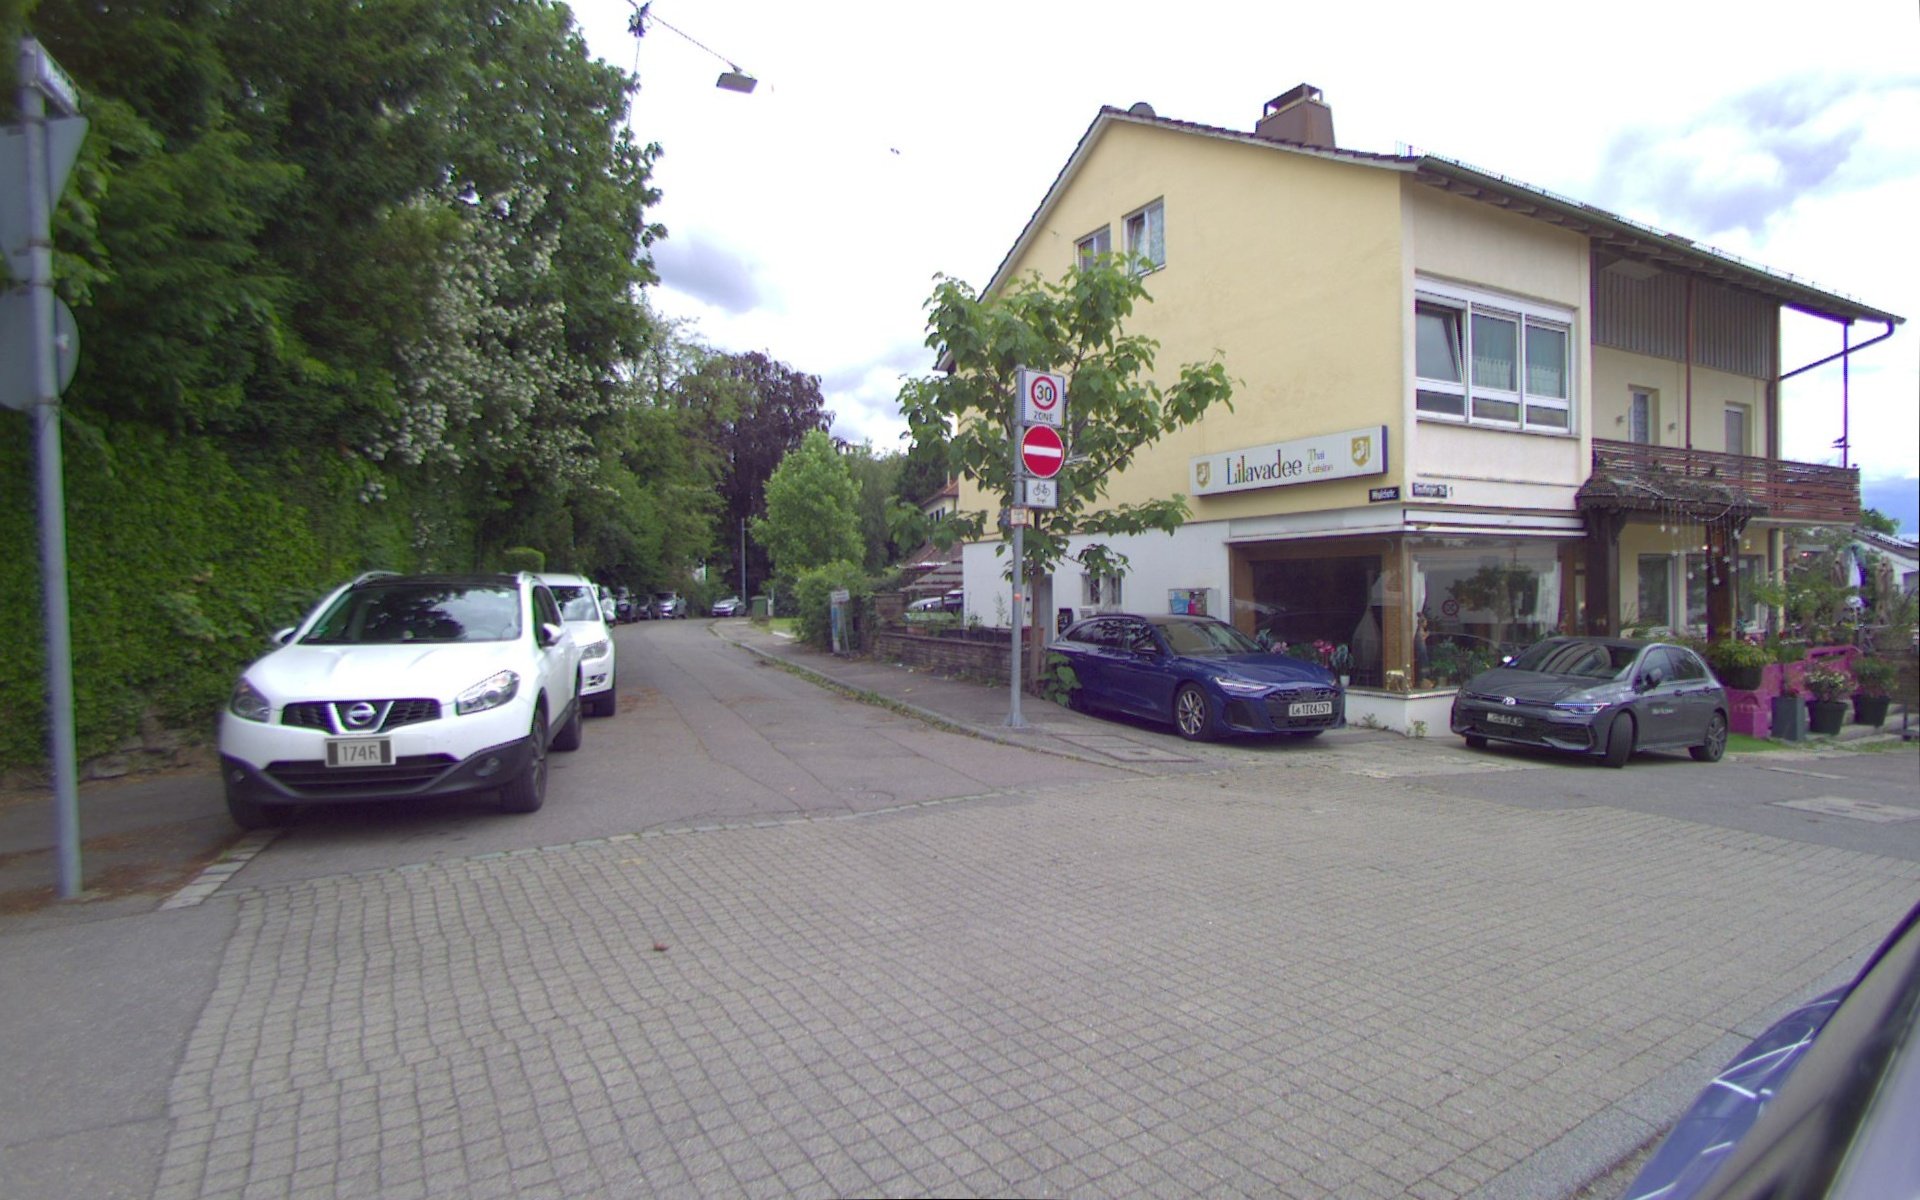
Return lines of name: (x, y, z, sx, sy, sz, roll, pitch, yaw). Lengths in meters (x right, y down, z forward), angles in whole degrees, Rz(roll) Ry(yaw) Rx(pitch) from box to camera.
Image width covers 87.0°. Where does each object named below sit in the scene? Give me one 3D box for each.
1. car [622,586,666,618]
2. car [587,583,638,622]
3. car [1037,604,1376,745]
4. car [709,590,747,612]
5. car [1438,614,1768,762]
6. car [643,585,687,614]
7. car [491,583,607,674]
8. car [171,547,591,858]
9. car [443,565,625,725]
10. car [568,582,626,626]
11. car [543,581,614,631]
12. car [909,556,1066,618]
car: (-15.921, 0.081, 51.125, 1.542, 1.502, 3.479, -1, 1, -8)
car: (-14.210, 0.050, 41.538, 1.542, 1.502, 3.481, -1, 1, -11)
car: (2.914, 0.831, 13.225, 1.761, 1.405, 4.758, 2, 0, -23)
car: (-16.353, 0.036, 71.469, 1.547, 1.502, 3.468, 0, 1, 7)
car: (7.943, 1.068, 12.386, 4.242, 1.480, 1.800, 5, -2, -34)
car: (-16.245, -0.035, 55.807, 1.543, 1.502, 3.476, 0, 1, -3)
car: (-7.449, 0.422, 18.576, 1.761, 1.441, 4.080, -1, 1, -20)
car: (-3.867, 0.511, 7.568, 1.761, 1.643, 4.144, -1, 1, -16)
car: (-5.177, 0.437, 12.623, 1.761, 1.643, 4.080, -1, 1, -20)
car: (-13.426, 0.109, 37.558, 1.542, 1.502, 3.481, -1, 1, -11)
car: (-12.219, 0.143, 32.605, 1.542, 1.502, 3.745, -1, 1, -11)
car: (0.820, -0.363, 30.237, 4.235, 1.480, 1.802, 4, -2, -19)
